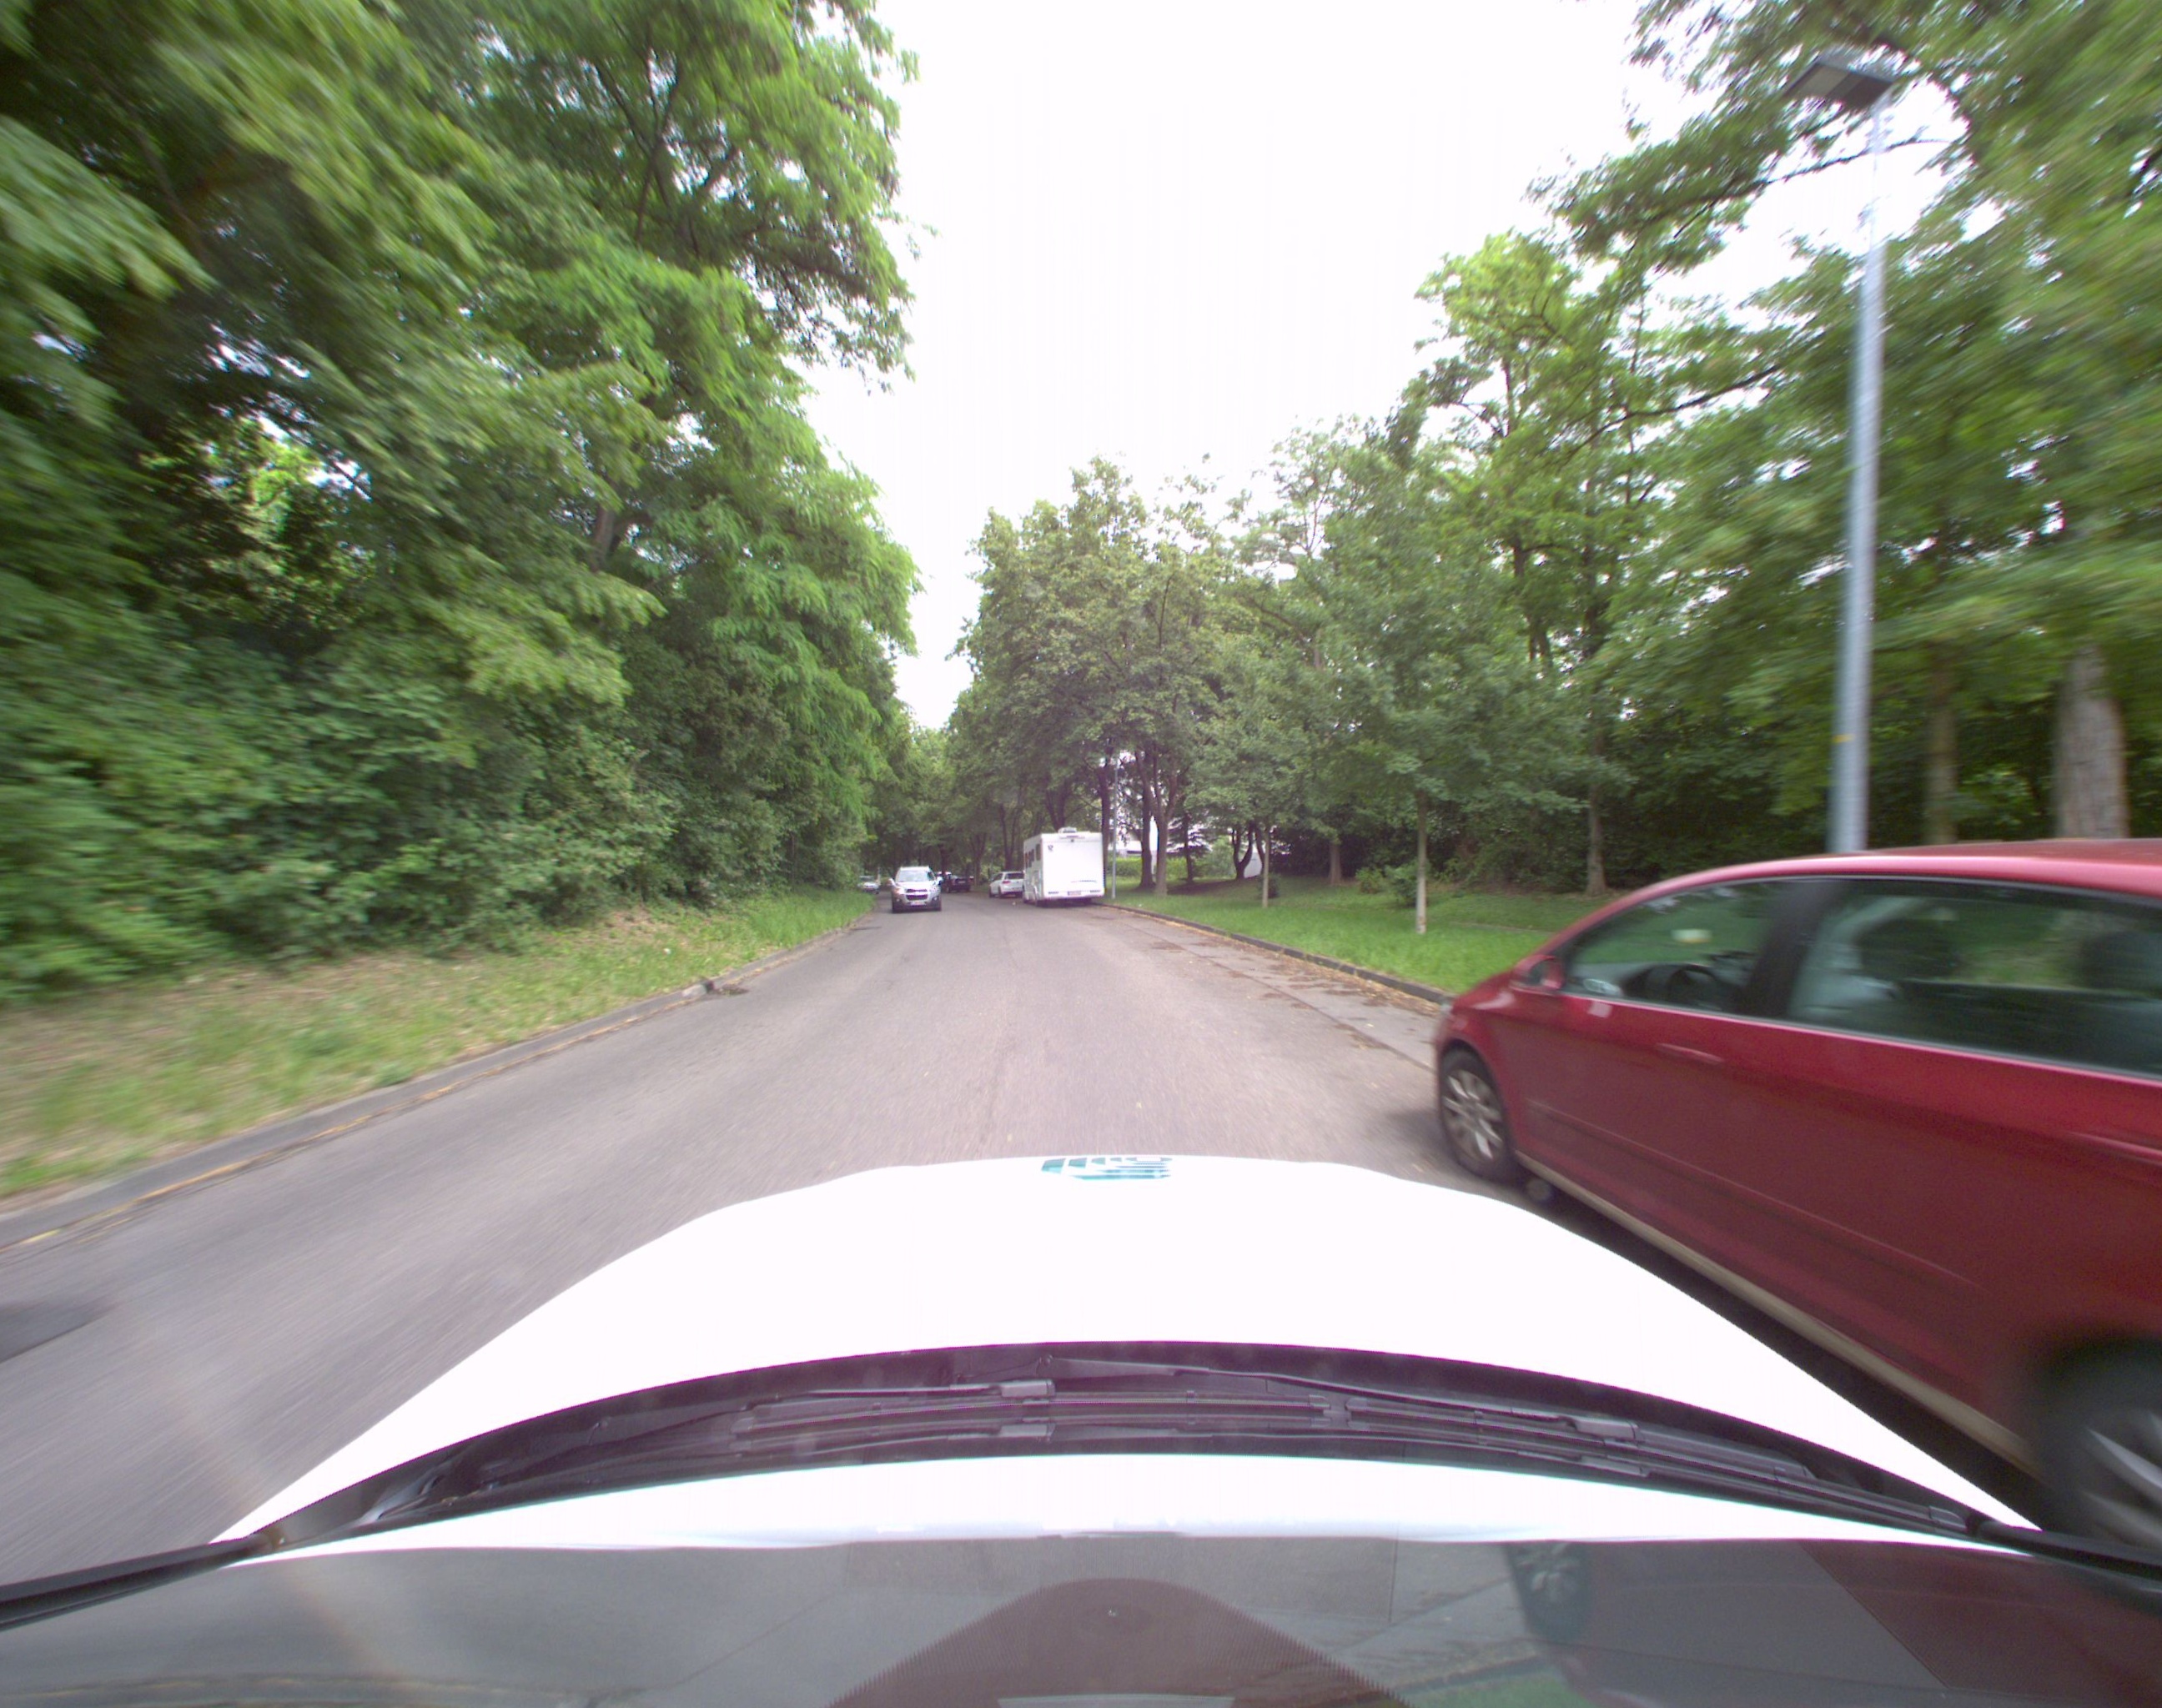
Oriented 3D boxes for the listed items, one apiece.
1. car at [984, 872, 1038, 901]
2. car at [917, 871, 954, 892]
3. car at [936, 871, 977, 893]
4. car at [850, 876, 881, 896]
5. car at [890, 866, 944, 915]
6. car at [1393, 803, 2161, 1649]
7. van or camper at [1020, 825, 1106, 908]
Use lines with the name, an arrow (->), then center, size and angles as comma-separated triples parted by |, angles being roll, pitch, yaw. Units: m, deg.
car -> -3.939, 1.795, 45.370 | 2.000, 1.473, 3.973 | 2, -1, -20
car -> -11.896, 2.268, 66.524 | 2.003, 1.613, 3.966 | -1, -1, -25
car -> -9.377, 2.085, 60.999 | 2.003, 1.501, 3.967 | 2, -1, -25
car -> -17.050, 2.534, 64.339 | 1.820, 1.467, 3.969 | -2, -1, -23
car -> -6.406, 1.348, 31.707 | 1.859, 1.664, 4.551 | -3, 0, -12
car -> 2.788, 0.673, 2.774 | 1.734, 1.562, 3.996 | -2, -1, -3
van or camper -> -0.831, 0.460, 32.566 | 2.431, 3.007, 5.186 | -1, 0, -13
